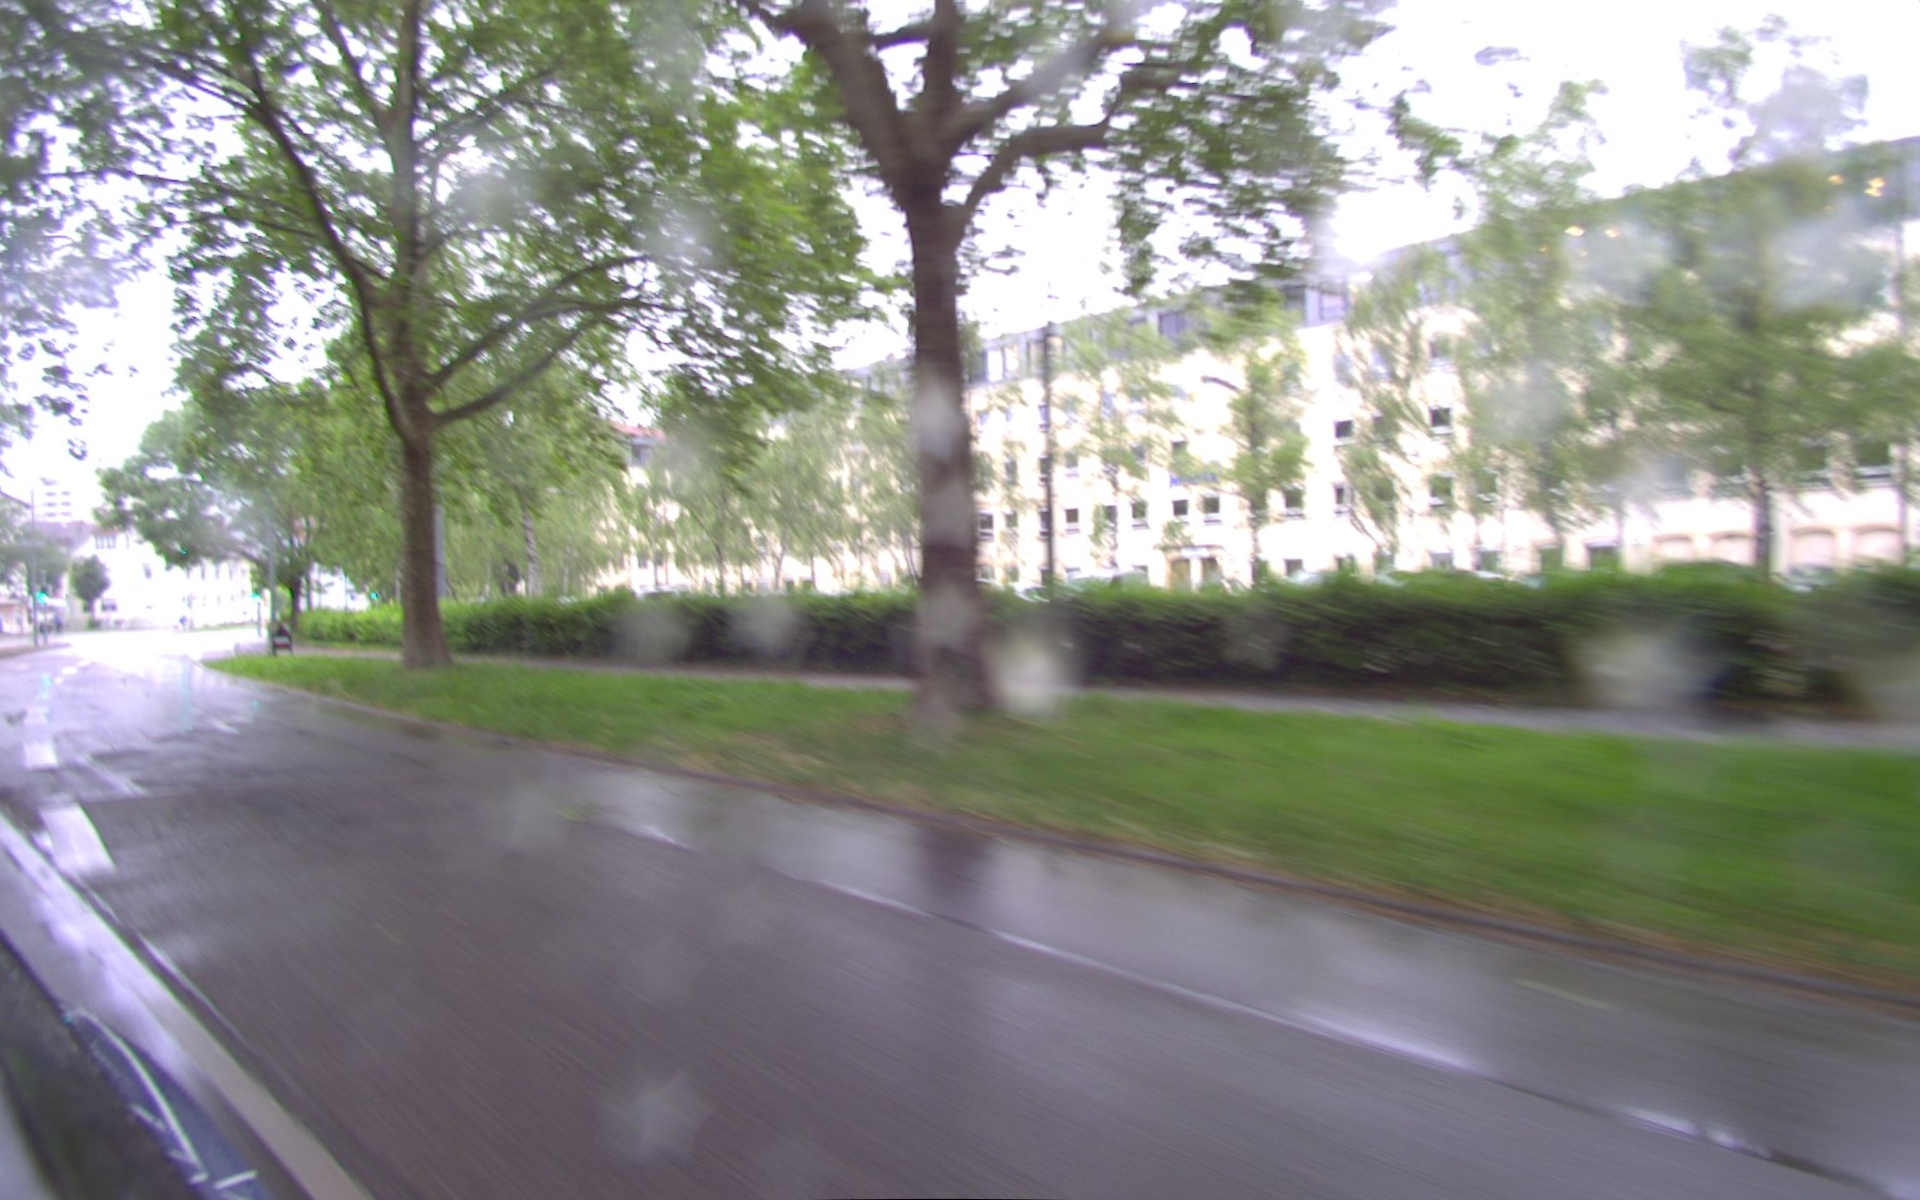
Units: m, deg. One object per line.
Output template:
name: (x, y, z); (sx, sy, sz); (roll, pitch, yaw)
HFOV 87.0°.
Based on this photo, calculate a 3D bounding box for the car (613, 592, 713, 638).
car: (-13.230, 0.641, 45.256); (1.852, 1.847, 3.950); (-2, 0, 37)

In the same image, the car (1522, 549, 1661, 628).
car: (14.166, -0.215, 22.607); (1.999, 1.578, 3.945); (-2, -1, 41)

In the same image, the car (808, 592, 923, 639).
car: (-3.464, 0.564, 37.521); (1.886, 1.562, 3.943); (-2, 0, 44)

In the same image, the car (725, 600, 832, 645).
car: (-7.340, 0.905, 41.161); (1.854, 1.611, 3.945); (-2, 0, 41)

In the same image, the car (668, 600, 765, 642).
car: (-10.351, 0.892, 43.201); (1.716, 1.611, 3.770); (-2, 0, 38)

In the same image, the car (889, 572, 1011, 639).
car: (-0.302, 0.198, 34.484); (2.000, 2.149, 3.944); (-2, -2, 42)

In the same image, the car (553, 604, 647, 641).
car: (-18.072, 1.110, 50.935); (1.997, 1.650, 3.950); (-2, 0, 37)

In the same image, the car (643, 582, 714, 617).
car: (-27.462, -0.089, 98.973); (2.835, 3.217, 6.136); (-2, 0, 39)

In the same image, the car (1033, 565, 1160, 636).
car: (4.261, 0.042, 31.276); (1.999, 2.029, 3.945); (-2, -2, 42)

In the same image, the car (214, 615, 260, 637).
car: (-80.150, 2.820, 112.297); (2.161, 2.272, 4.894); (-2, 0, -9)
